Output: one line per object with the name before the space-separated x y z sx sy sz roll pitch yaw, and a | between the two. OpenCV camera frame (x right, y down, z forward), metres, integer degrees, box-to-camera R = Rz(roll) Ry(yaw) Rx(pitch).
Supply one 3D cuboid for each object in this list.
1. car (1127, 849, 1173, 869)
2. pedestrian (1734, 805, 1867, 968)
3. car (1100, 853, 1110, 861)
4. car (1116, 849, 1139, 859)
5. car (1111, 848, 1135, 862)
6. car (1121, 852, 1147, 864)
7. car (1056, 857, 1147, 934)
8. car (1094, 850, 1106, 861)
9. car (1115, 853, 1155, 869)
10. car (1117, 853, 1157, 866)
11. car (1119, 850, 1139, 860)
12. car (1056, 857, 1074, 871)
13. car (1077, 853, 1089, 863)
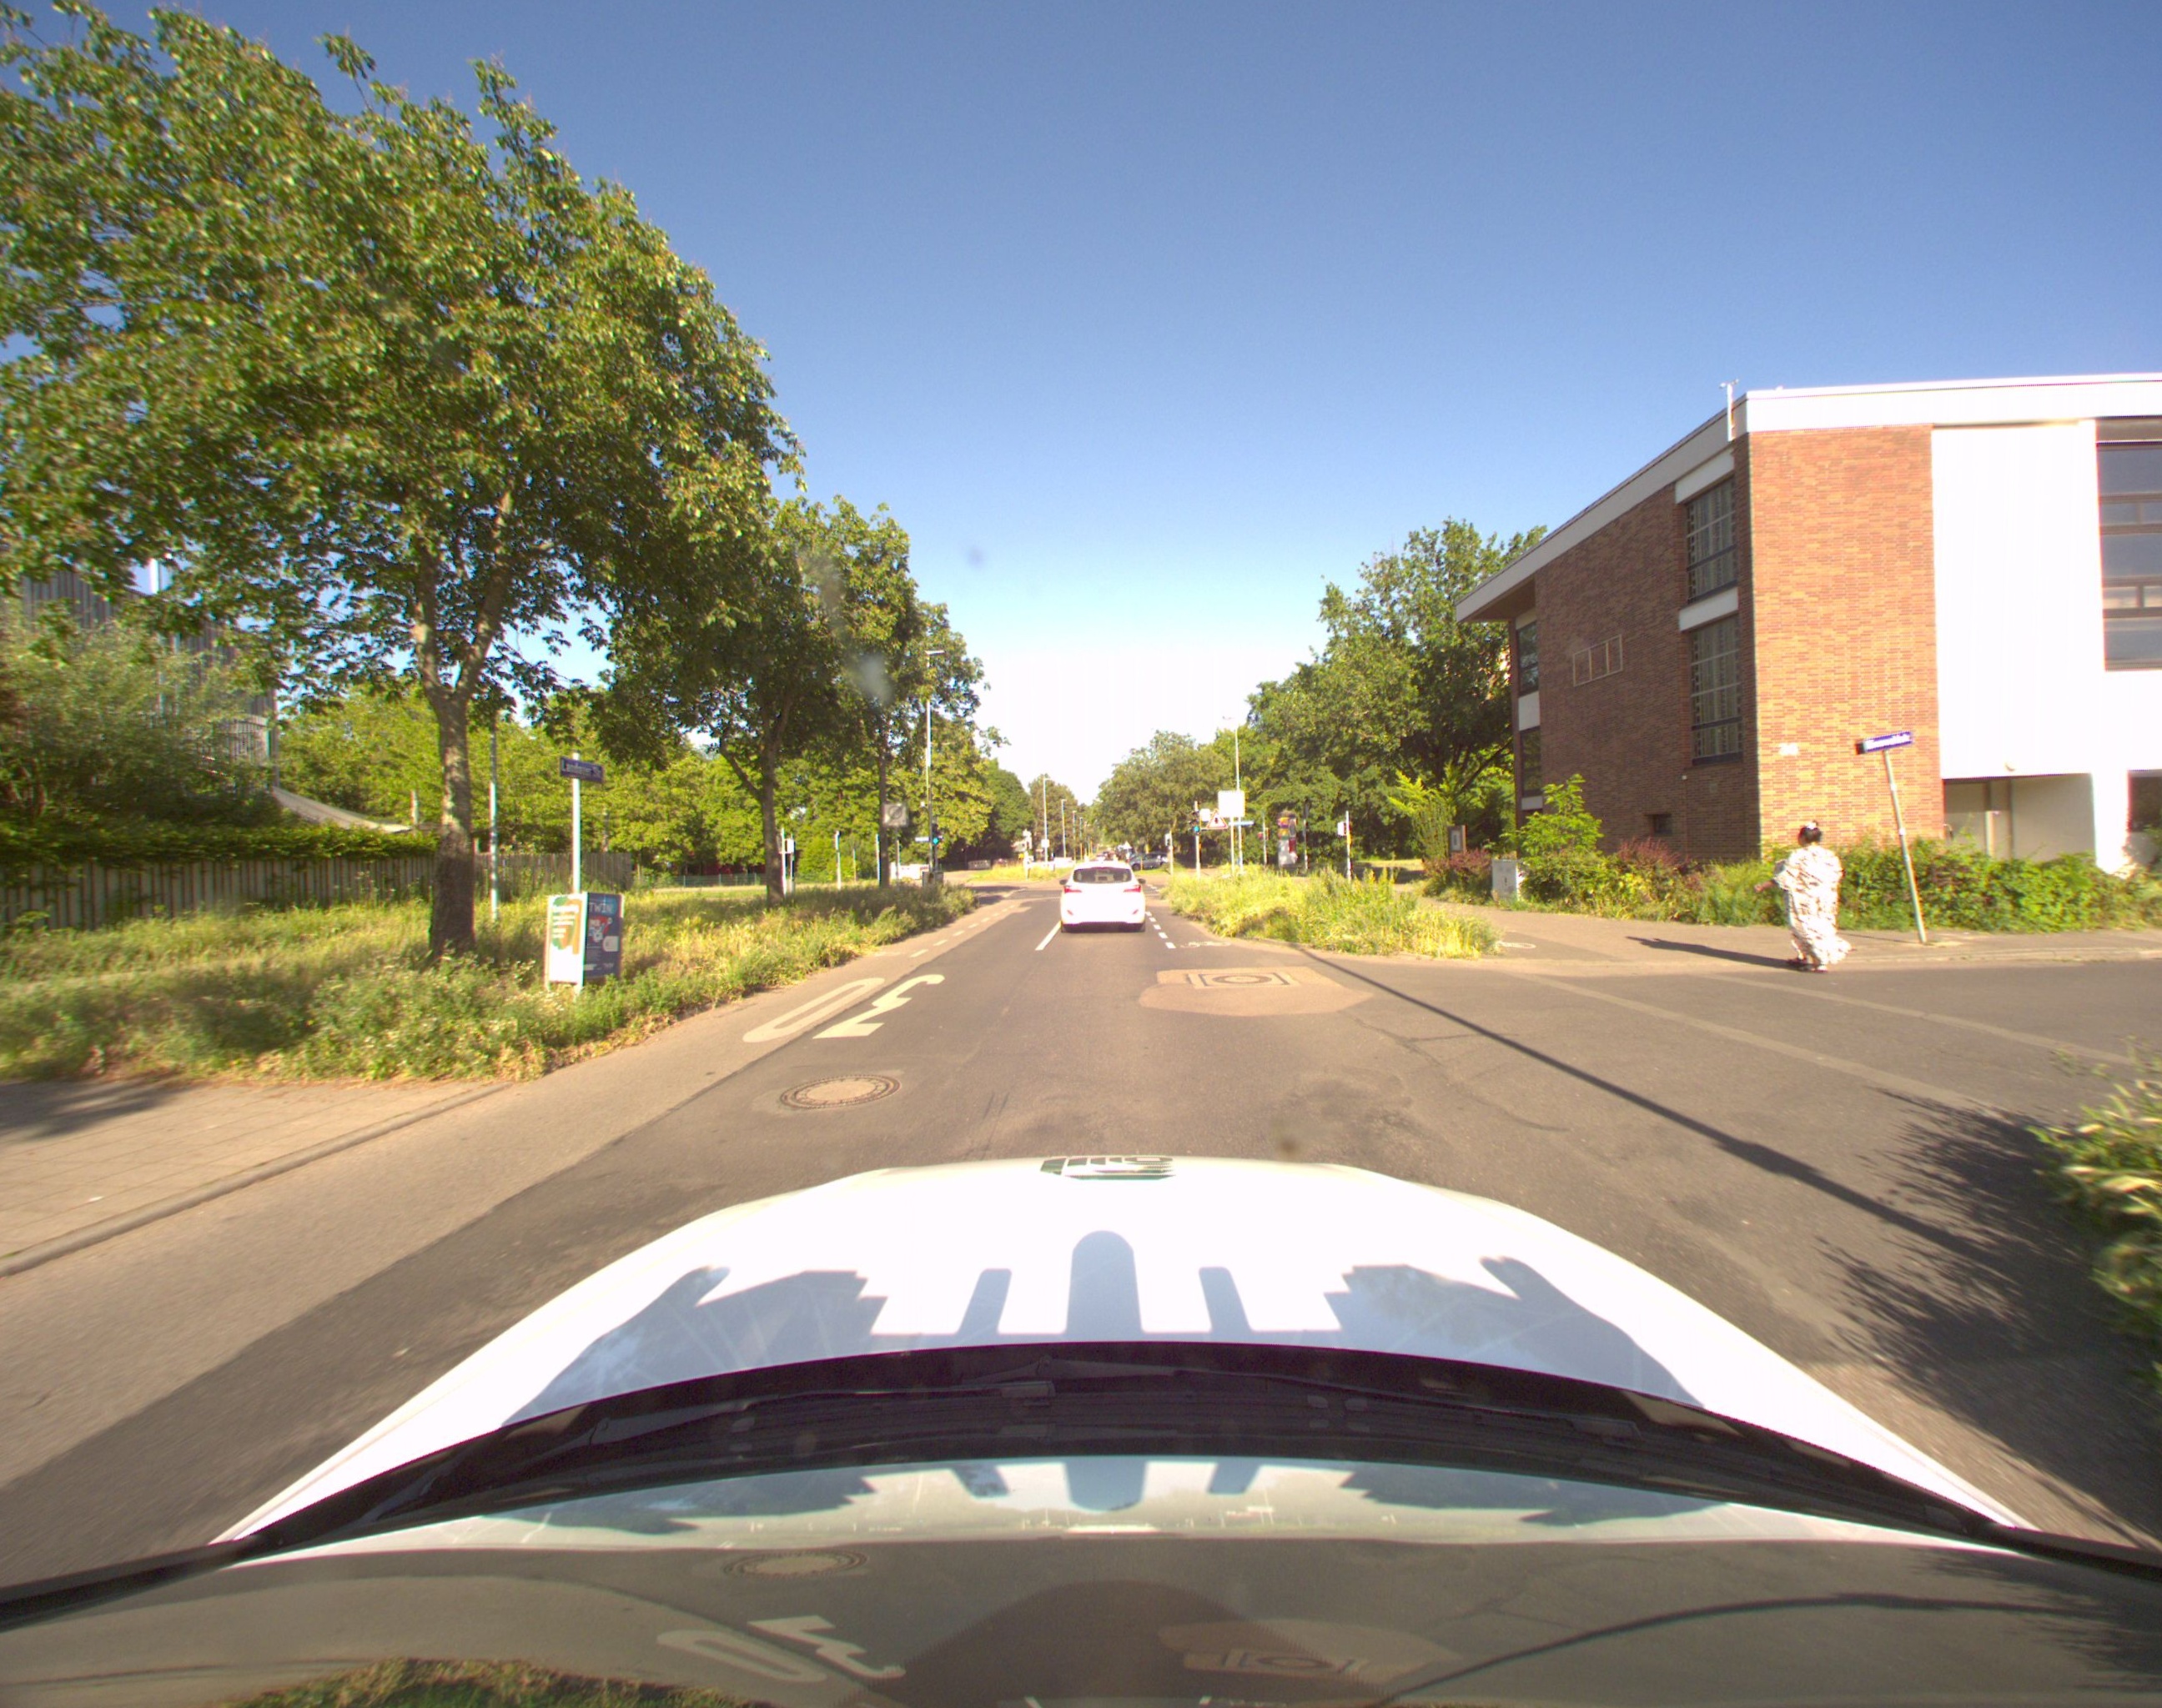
car | 6.776 0.503 80.026 4.478 1.783 1.857 -2 0 4
pedestrian | 8.387 0.368 9.536 0.893 1.821 0.738 -1 -1 11
car | 5.305 0.680 178.704 1.986 1.816 4.002 -1 0 2
car | 9.078 0.062 159.426 4.285 1.908 1.864 -1 -1 2
car | 6.855 0.150 132.140 3.804 2.098 1.864 -1 -1 2
car | 7.955 0.559 122.063 3.804 1.684 1.864 -1 -1 2
car | 0.481 0.835 18.209 1.783 1.463 3.965 -2 0 2
car | 3.335 0.224 139.721 1.986 1.816 4.002 0 0 2
car | 6.117 0.766 92.123 4.478 1.630 1.857 -2 0 4
car | 7.864 0.806 115.439 5.592 1.684 1.949 -1 -1 1
car | 9.195 0.201 156.270 3.804 1.767 1.864 -1 -1 2
car | -2.015 1.261 104.456 1.986 1.816 4.002 -1 0 2
car | 0.386 0.783 152.569 1.986 1.816 4.002 -1 0 2
